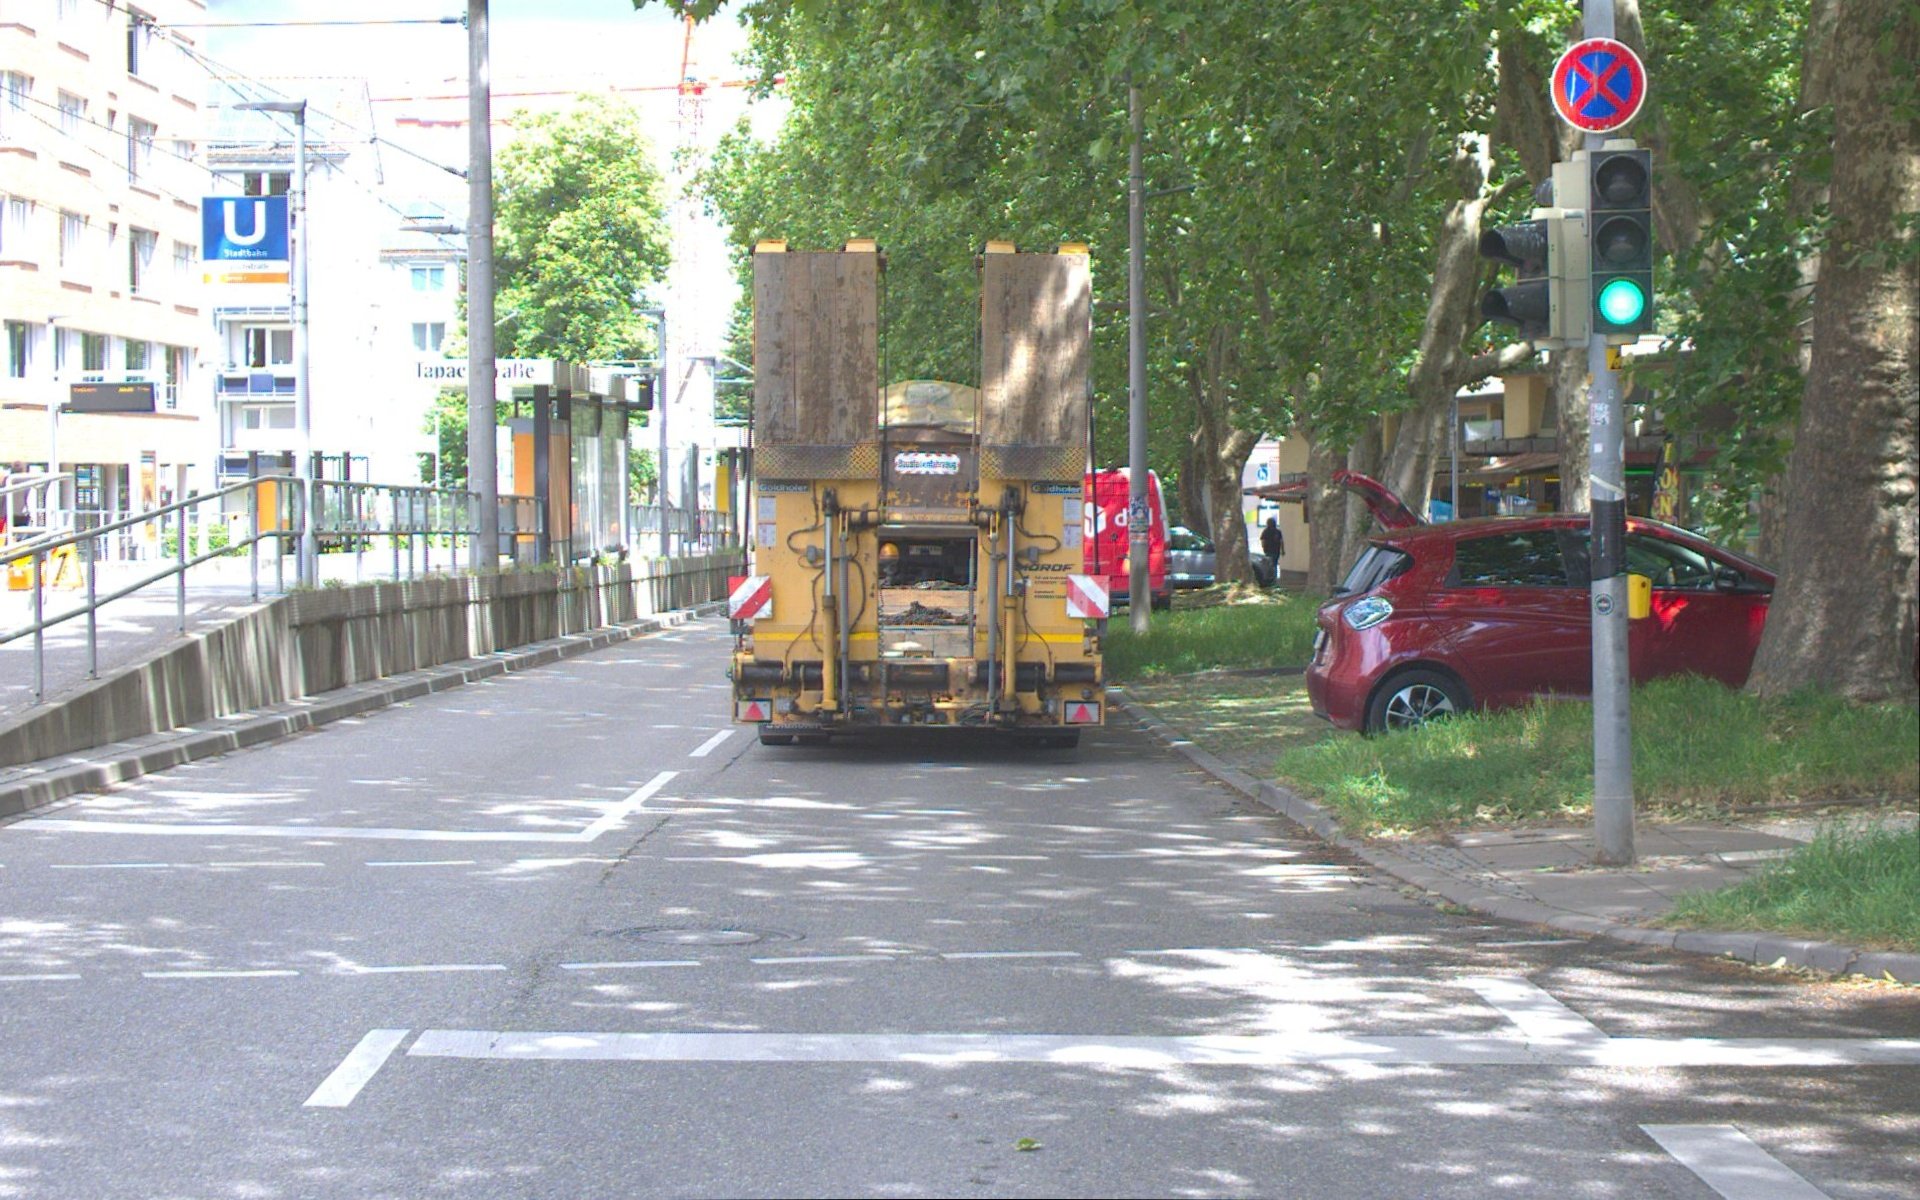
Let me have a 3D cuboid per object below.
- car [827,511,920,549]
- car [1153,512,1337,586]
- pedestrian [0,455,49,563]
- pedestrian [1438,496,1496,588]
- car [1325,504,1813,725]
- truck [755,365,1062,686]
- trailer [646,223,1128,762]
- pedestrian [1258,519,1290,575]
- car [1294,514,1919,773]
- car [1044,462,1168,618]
[{"bbox_3d":[-5.063,-4.096,200.858,5.088,2.095,1.977,1,1,-13],"label":"car"},{"bbox_3d":[6.332,-1.137,76.678,3.828,1.557,1.620,-1,1,-6],"label":"car"},{"bbox_3d":[-14.381,-1.390,52.418,0.751,1.623,0.816,1,1,1],"label":"pedestrian"},{"bbox_3d":[9.962,-1.140,67.511,0.604,1.795,0.925,-1,0,-45],"label":"pedestrian"},{"bbox_3d":[4.714,0.093,26.889,3.406,1.509,1.610,-3,1,-3],"label":"car"},{"bbox_3d":[-0.530,-0.825,38.016,2.989,3.124,7.888,1,1,0],"label":"truck"},{"bbox_3d":[-0.497,-0.832,28.476,3.154,3.540,11.097,1,1,0],"label":"trailer"},{"bbox_3d":[7.775,-1.314,85.098,0.694,1.387,0.512,-1,1,-3],"label":"pedestrian"},{"bbox_3d":[4.261,0.257,22.552,4.029,1.606,1.731,-1,1,3],"label":"car"},{"bbox_3d":[2.533,-1.079,61.056,1.904,2.572,6.834,-1,1,1],"label":"car"}]
